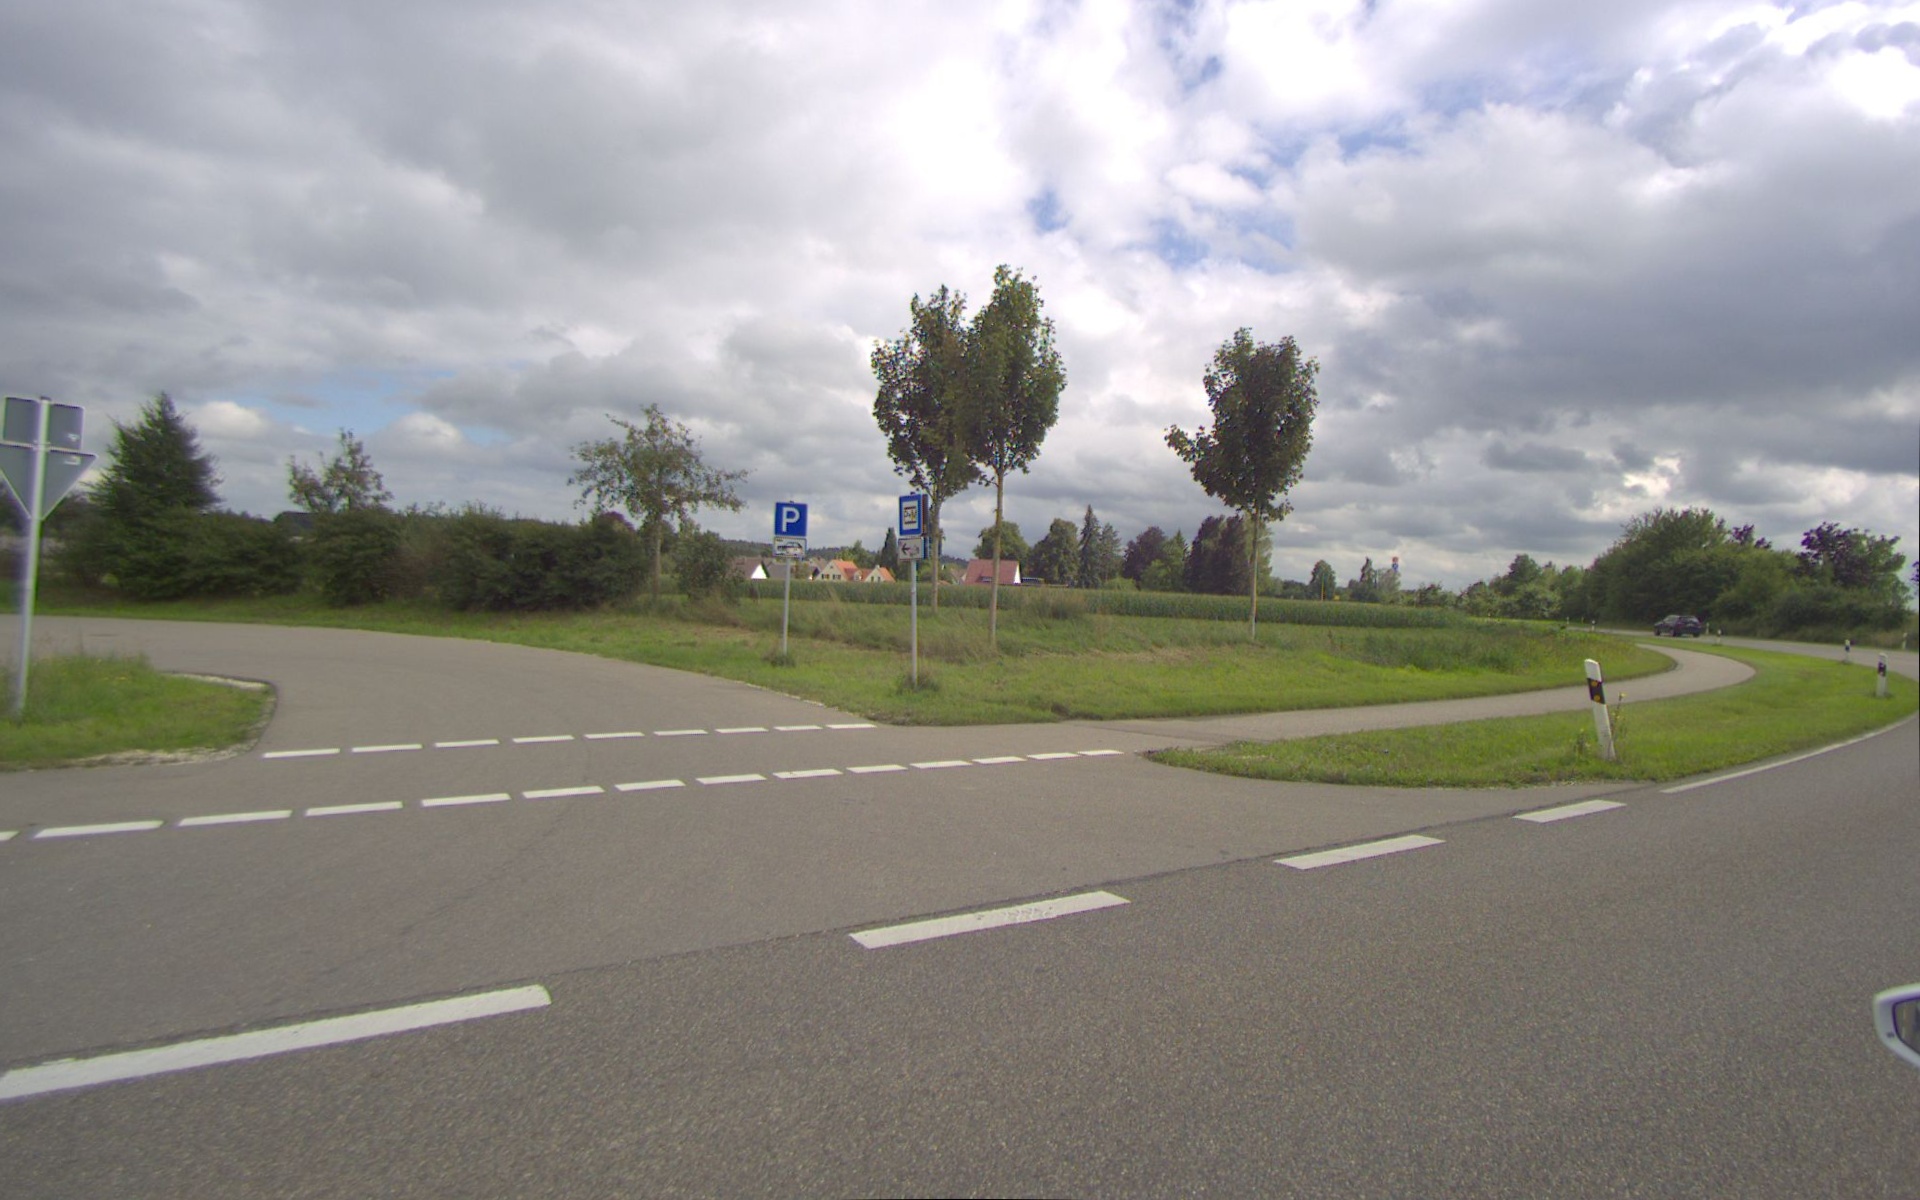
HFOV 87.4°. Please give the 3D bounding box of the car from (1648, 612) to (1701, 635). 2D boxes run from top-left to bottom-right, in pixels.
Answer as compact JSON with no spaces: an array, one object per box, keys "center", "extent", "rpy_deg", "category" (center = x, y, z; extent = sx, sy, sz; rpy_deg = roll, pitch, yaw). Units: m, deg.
[{"center":[57.020,1.861,80.235],"extent":[1.874,1.689,4.002],"rpy_deg":[2,1,9],"category":"car"}]
